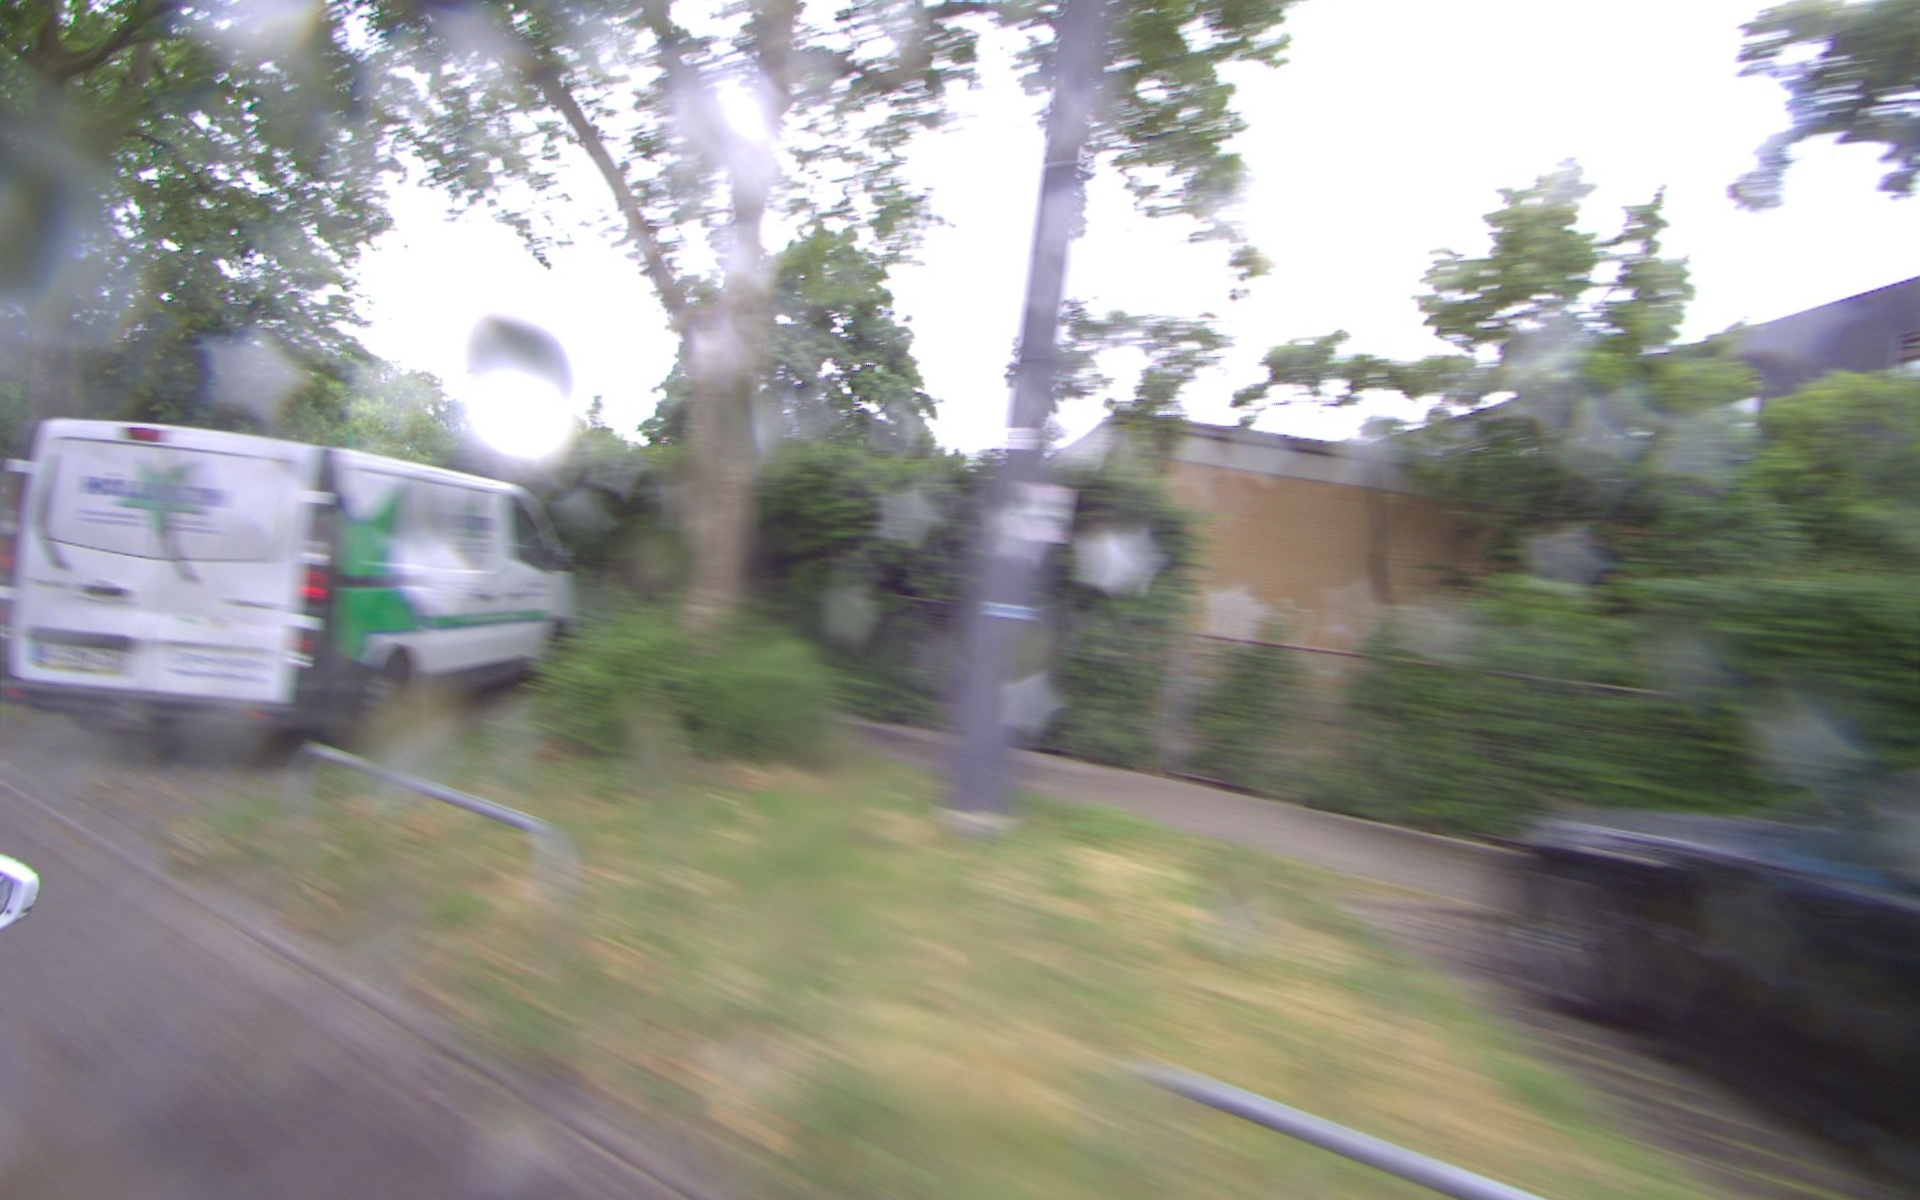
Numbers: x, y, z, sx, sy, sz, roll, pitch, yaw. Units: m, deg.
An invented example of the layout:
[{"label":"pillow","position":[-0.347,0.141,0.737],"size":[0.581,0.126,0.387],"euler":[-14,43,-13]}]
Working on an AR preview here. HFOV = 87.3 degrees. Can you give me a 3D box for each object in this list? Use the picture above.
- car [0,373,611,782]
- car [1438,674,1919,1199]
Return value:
[{"label":"car","position":[-4.642,-0.193,8.047],"size":[1.964,2.040,5.023],"euler":[7,2,-3]},{"label":"car","position":[3.546,1.187,2.897],"size":[1.711,1.401,4.299],"euler":[7,0,-8]}]
